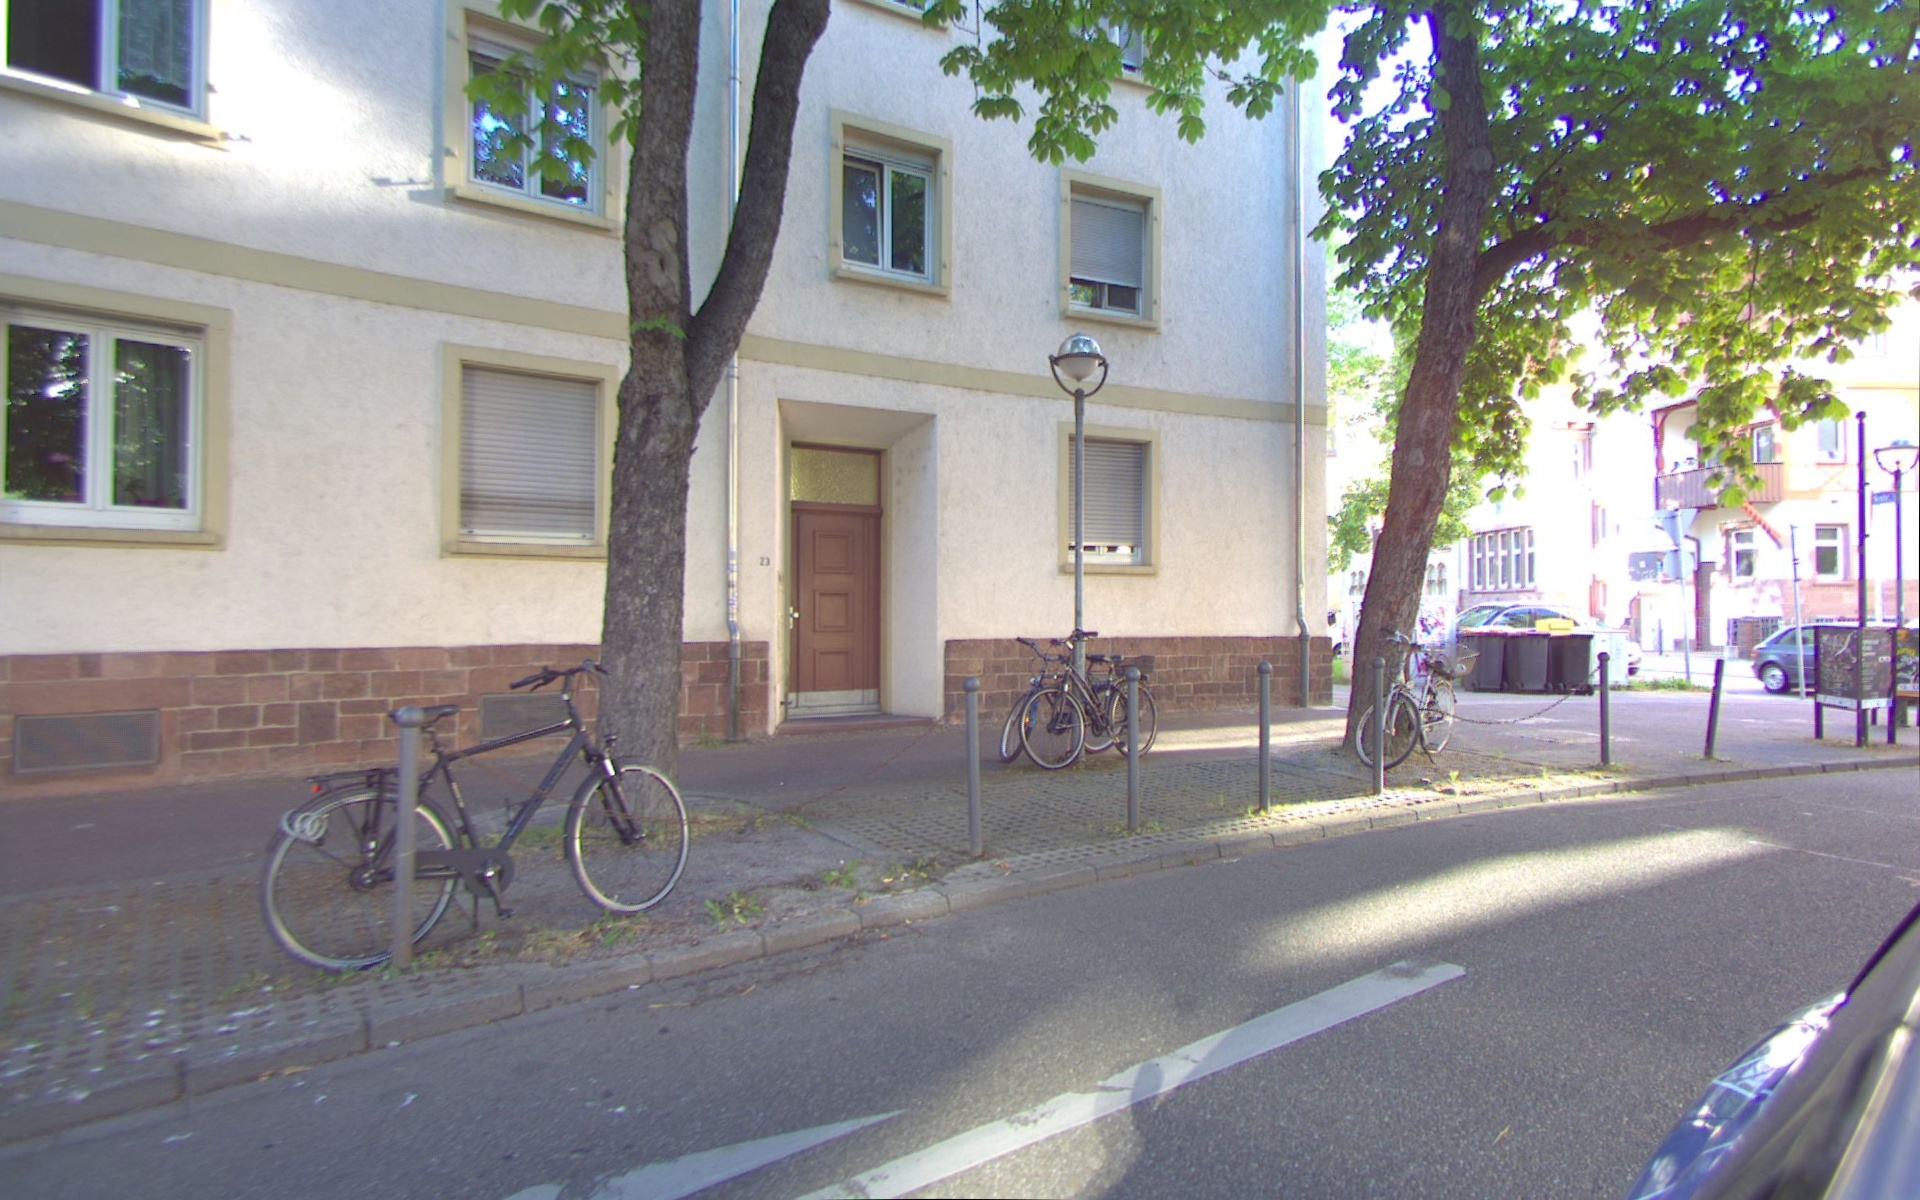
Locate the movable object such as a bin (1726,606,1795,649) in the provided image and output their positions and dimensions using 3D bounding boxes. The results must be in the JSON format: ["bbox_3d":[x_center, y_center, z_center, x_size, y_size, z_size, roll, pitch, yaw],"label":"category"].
[{"bbox_3d":[25.165,0.860,31.844,1.357,1.315,0.966,-1,-1,8],"label":"movable object such as a bin"}]

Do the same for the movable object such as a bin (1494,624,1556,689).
[{"bbox_3d":[10.451,1.038,18.749,0.725,1.167,0.716,0,-1,-1],"label":"movable object such as a bin"}]

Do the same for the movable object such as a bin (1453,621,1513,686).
[{"bbox_3d":[9.682,0.976,18.756,0.725,1.167,0.701,0,-1,-1],"label":"movable object such as a bin"}]

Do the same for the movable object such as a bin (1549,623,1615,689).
[{"bbox_3d":[10.506,0.935,17.113,0.646,1.078,0.694,-1,-1,-1],"label":"movable object such as a bin"}]

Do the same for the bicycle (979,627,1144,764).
[{"bbox_3d":[0.959,0.815,9.184,1.771,1.123,0.391,1,-2,-42],"label":"bicycle"}]

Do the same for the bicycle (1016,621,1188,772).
[{"bbox_3d":[1.284,0.793,8.898,1.753,1.196,0.438,1,-1,-40],"label":"bicycle"}]

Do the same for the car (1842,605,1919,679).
[{"bbox_3d":[21.300,0.888,21.468,1.677,1.504,3.798,-2,-1,-2],"label":"car"}]

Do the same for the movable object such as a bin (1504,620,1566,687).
[{"bbox_3d":[9.730,0.895,17.131,0.618,1.089,0.705,0,-1,-1],"label":"movable object such as a bin"}]

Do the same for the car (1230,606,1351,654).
[{"bbox_3d":[11.188,1.005,34.413,3.532,1.525,1.677,1,-2,-1],"label":"car"}]

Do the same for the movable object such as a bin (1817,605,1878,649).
[{"bbox_3d":[27.865,0.832,31.793,1.356,1.334,0.688,-1,-1,-9],"label":"movable object such as a bin"}]

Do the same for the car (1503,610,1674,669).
[{"bbox_3d":[16.351,0.977,26.608,1.760,1.413,4.255,0,-1,-1],"label":"car"}]

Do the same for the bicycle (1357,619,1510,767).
[{"bbox_3d":[4.294,0.782,9.131,1.758,1.197,0.554,1,-1,-40],"label":"bicycle"}]

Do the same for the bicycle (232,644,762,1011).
[{"bbox_3d":[-1.899,0.816,4.355,1.965,1.173,0.681,0,0,-39],"label":"bicycle"}]

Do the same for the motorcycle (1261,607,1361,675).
[{"bbox_3d":[7.057,0.806,20.514,0.958,1.296,2.185,0,-1,-10],"label":"motorcycle"}]

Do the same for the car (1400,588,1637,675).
[{"bbox_3d":[11.990,0.682,21.900,4.036,1.735,2.026,1,-2,-6],"label":"car"}]

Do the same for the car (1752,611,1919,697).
[{"bbox_3d":[16.722,0.903,18.044,1.760,1.413,4.255,0,-1,-1],"label":"car"}]

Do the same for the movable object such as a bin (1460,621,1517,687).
[{"bbox_3d":[9.059,0.911,17.354,0.581,1.097,0.674,0,-1,-3],"label":"movable object such as a bin"}]

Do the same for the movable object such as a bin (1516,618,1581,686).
[{"bbox_3d":[10.424,0.906,17.944,0.725,1.167,0.701,0,-1,-1],"label":"movable object such as a bin"}]

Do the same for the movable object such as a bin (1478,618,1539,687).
[{"bbox_3d":[9.695,0.916,17.915,0.621,1.168,0.701,-2,-2,-1],"label":"movable object such as a bin"}]

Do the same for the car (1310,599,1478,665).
[{"bbox_3d":[11.281,0.821,26.503,3.636,1.672,1.703,0,-1,2],"label":"car"}]
